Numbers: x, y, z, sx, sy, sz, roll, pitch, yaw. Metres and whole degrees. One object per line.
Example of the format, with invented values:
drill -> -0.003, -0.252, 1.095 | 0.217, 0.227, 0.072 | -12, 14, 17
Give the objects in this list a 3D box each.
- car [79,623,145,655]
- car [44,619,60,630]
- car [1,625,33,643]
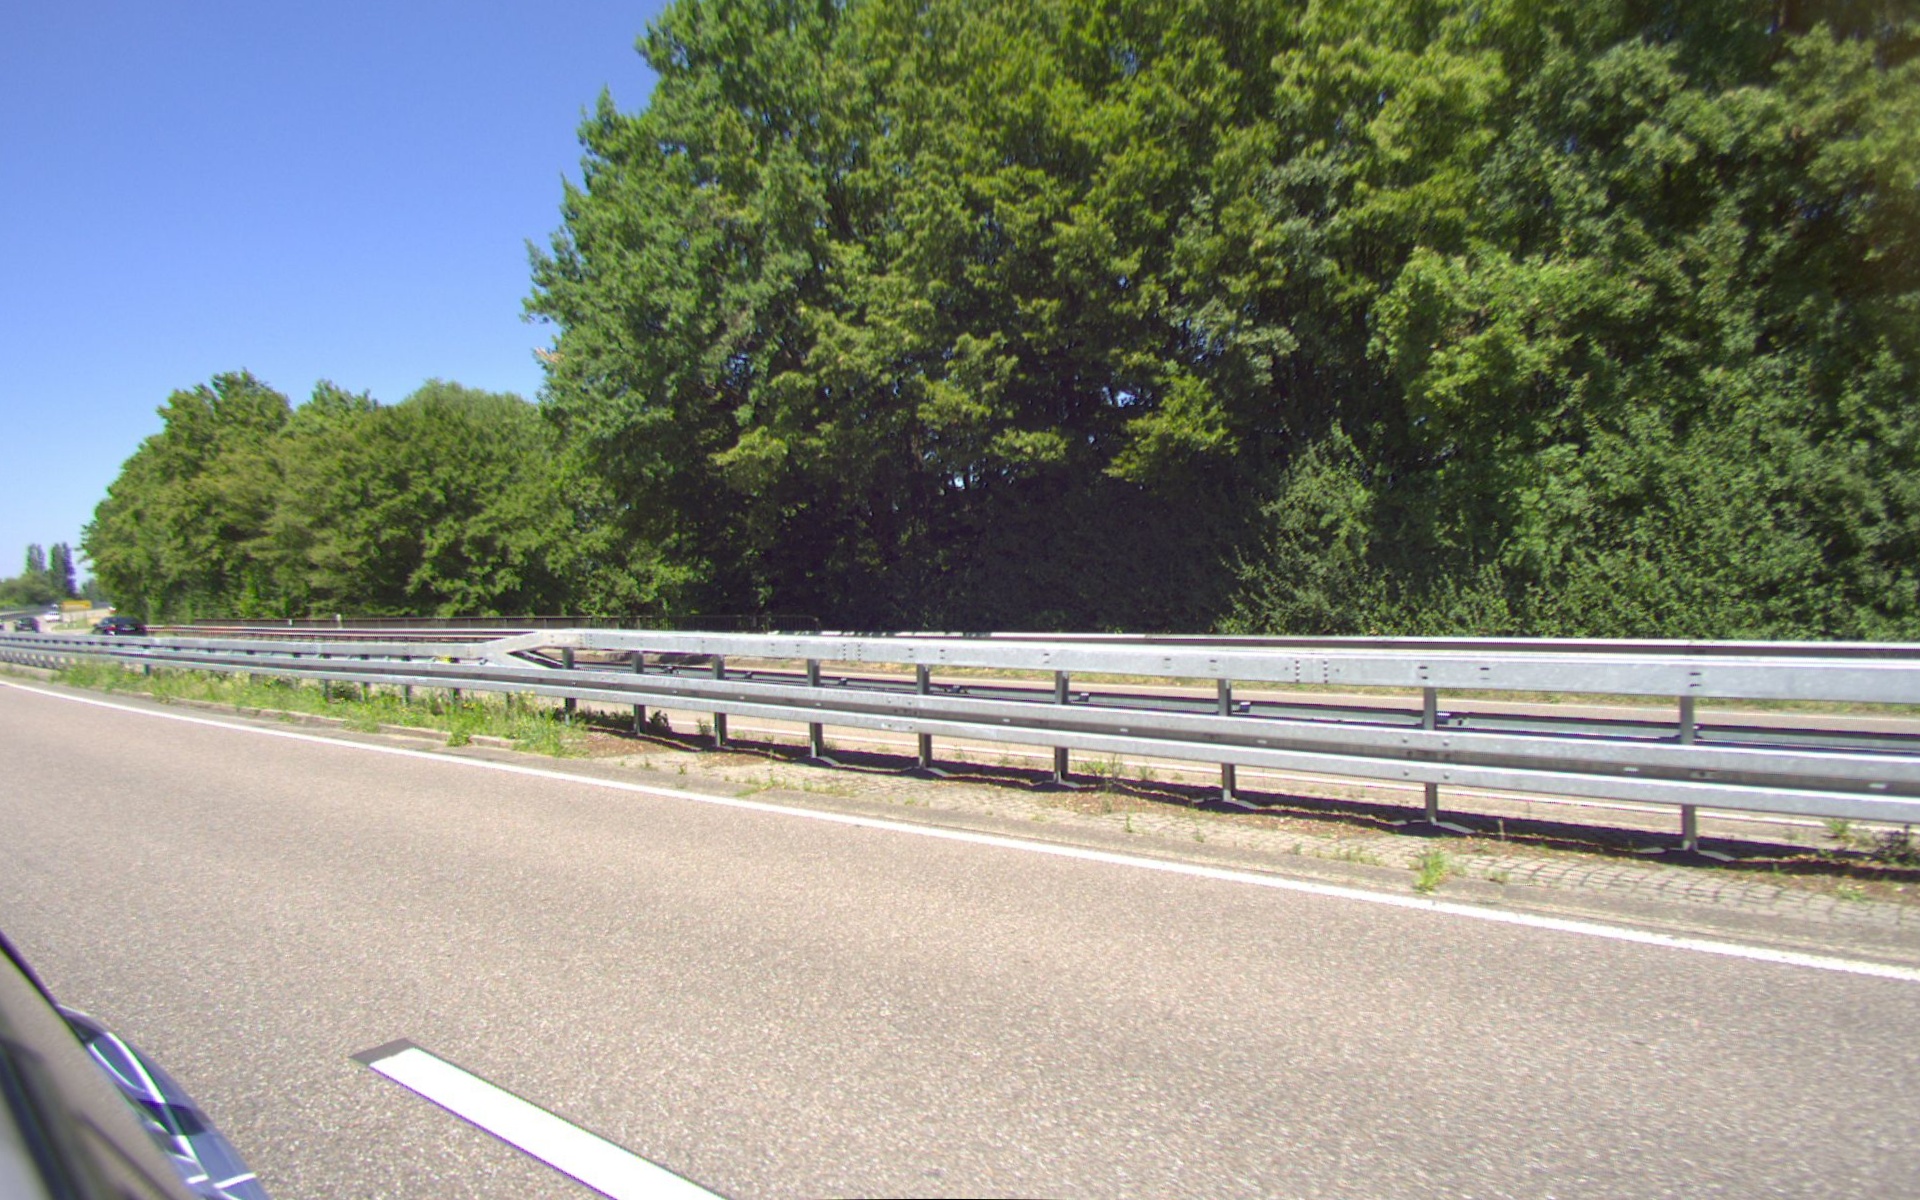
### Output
car -> -43.196, 1.955, 51.515 | 4.680, 1.540, 1.738 | -1, -1, 40
car -> -136.000, 3.662, 151.632 | 1.630, 1.458, 4.226 | -1, -1, -40
car -> -87.284, 3.120, 93.639 | 3.994, 1.540, 1.635 | -1, -1, 40
